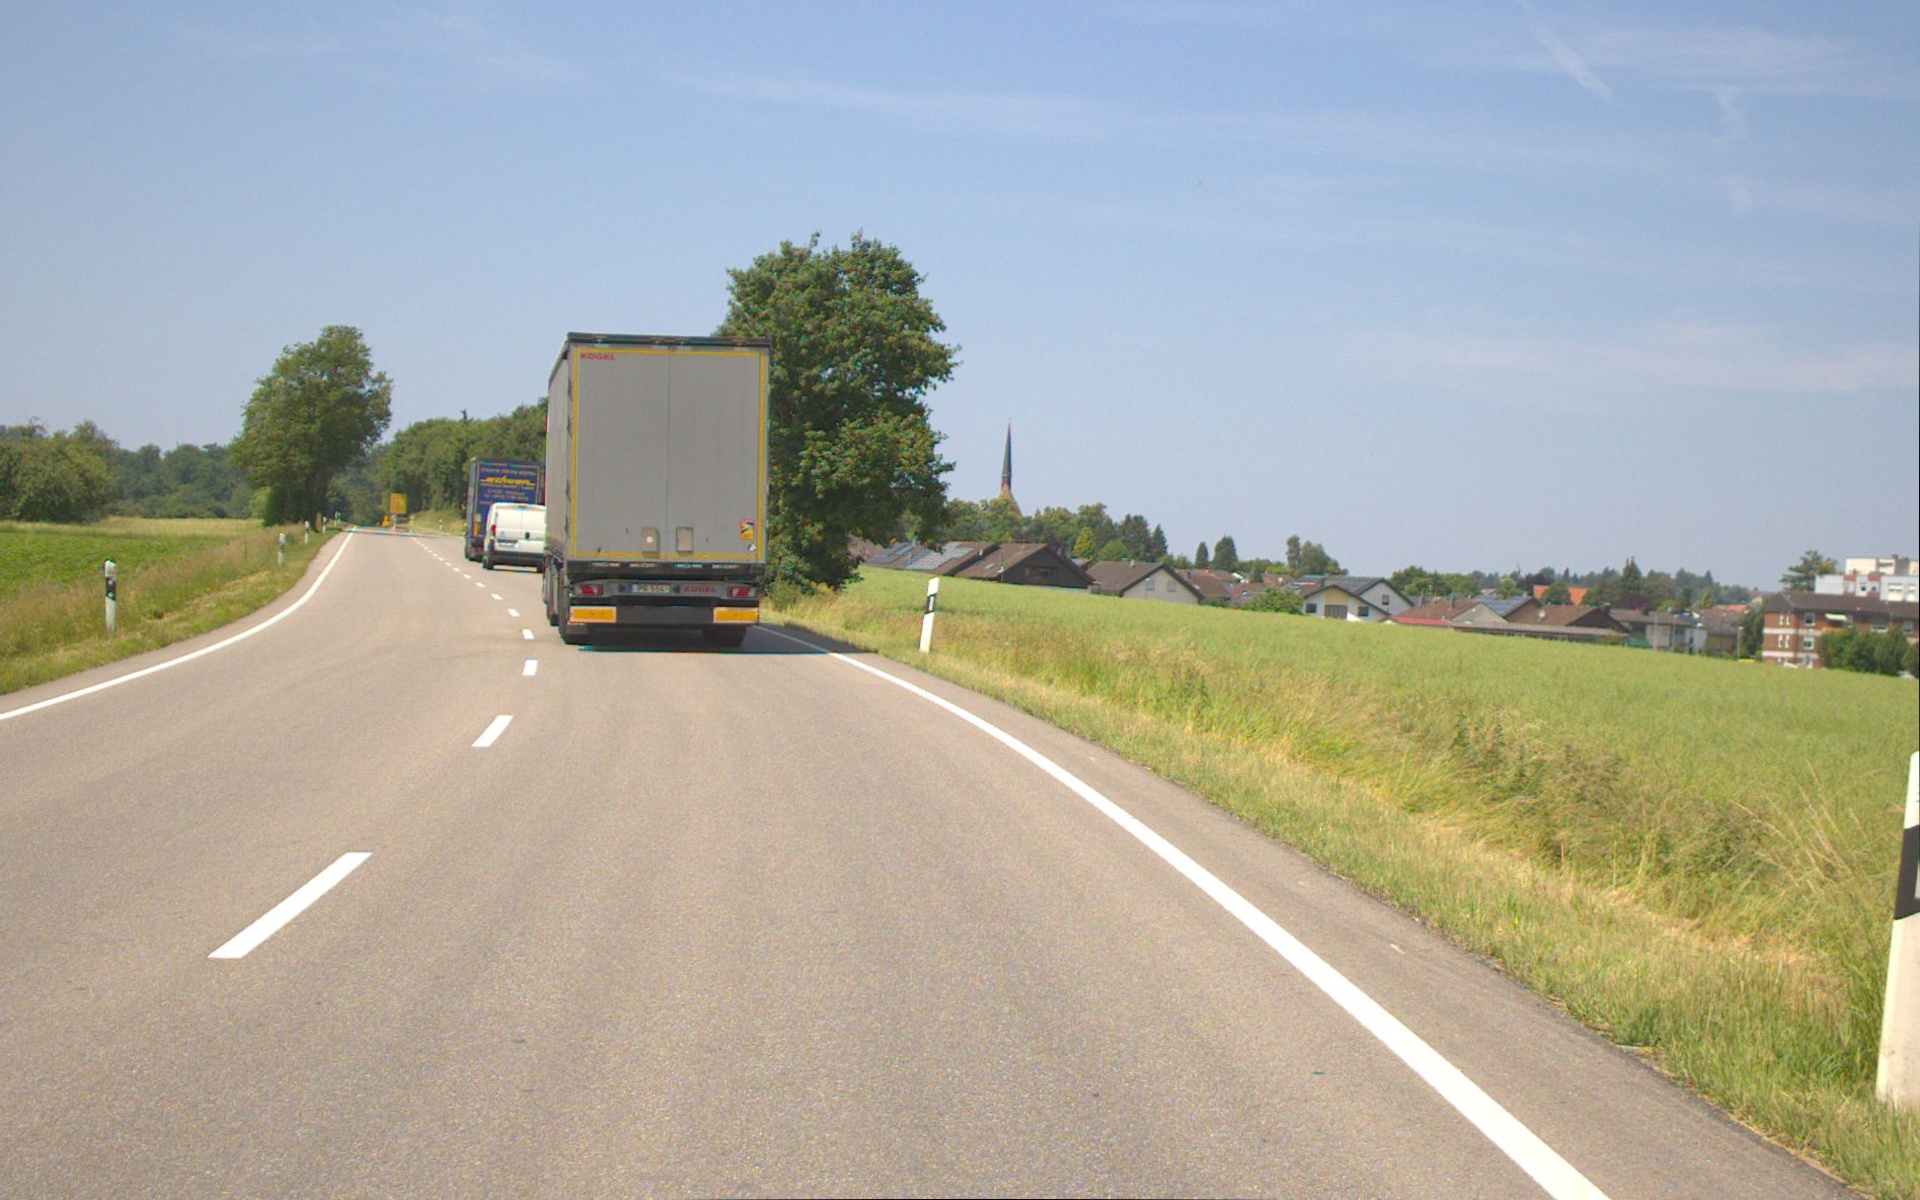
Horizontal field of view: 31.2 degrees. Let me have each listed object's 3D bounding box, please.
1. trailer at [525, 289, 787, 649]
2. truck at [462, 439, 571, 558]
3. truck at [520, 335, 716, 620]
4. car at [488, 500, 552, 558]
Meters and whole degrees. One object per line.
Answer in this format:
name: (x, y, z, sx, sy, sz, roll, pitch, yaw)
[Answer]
trailer: (-4.610, -1.790, 49.271, 2.866, 4.385, 13.497, 1, 1, -8)
truck: (-17.779, -4.016, 138.873, 3.548, 4.377, 18.125, 2, 1, -5)
truck: (-5.660, -1.977, 56.285, 2.858, 4.385, 5.072, 1, 1, -8)
car: (-14.680, -2.366, 114.737, 1.725, 1.866, 4.000, 1, 1, -2)
